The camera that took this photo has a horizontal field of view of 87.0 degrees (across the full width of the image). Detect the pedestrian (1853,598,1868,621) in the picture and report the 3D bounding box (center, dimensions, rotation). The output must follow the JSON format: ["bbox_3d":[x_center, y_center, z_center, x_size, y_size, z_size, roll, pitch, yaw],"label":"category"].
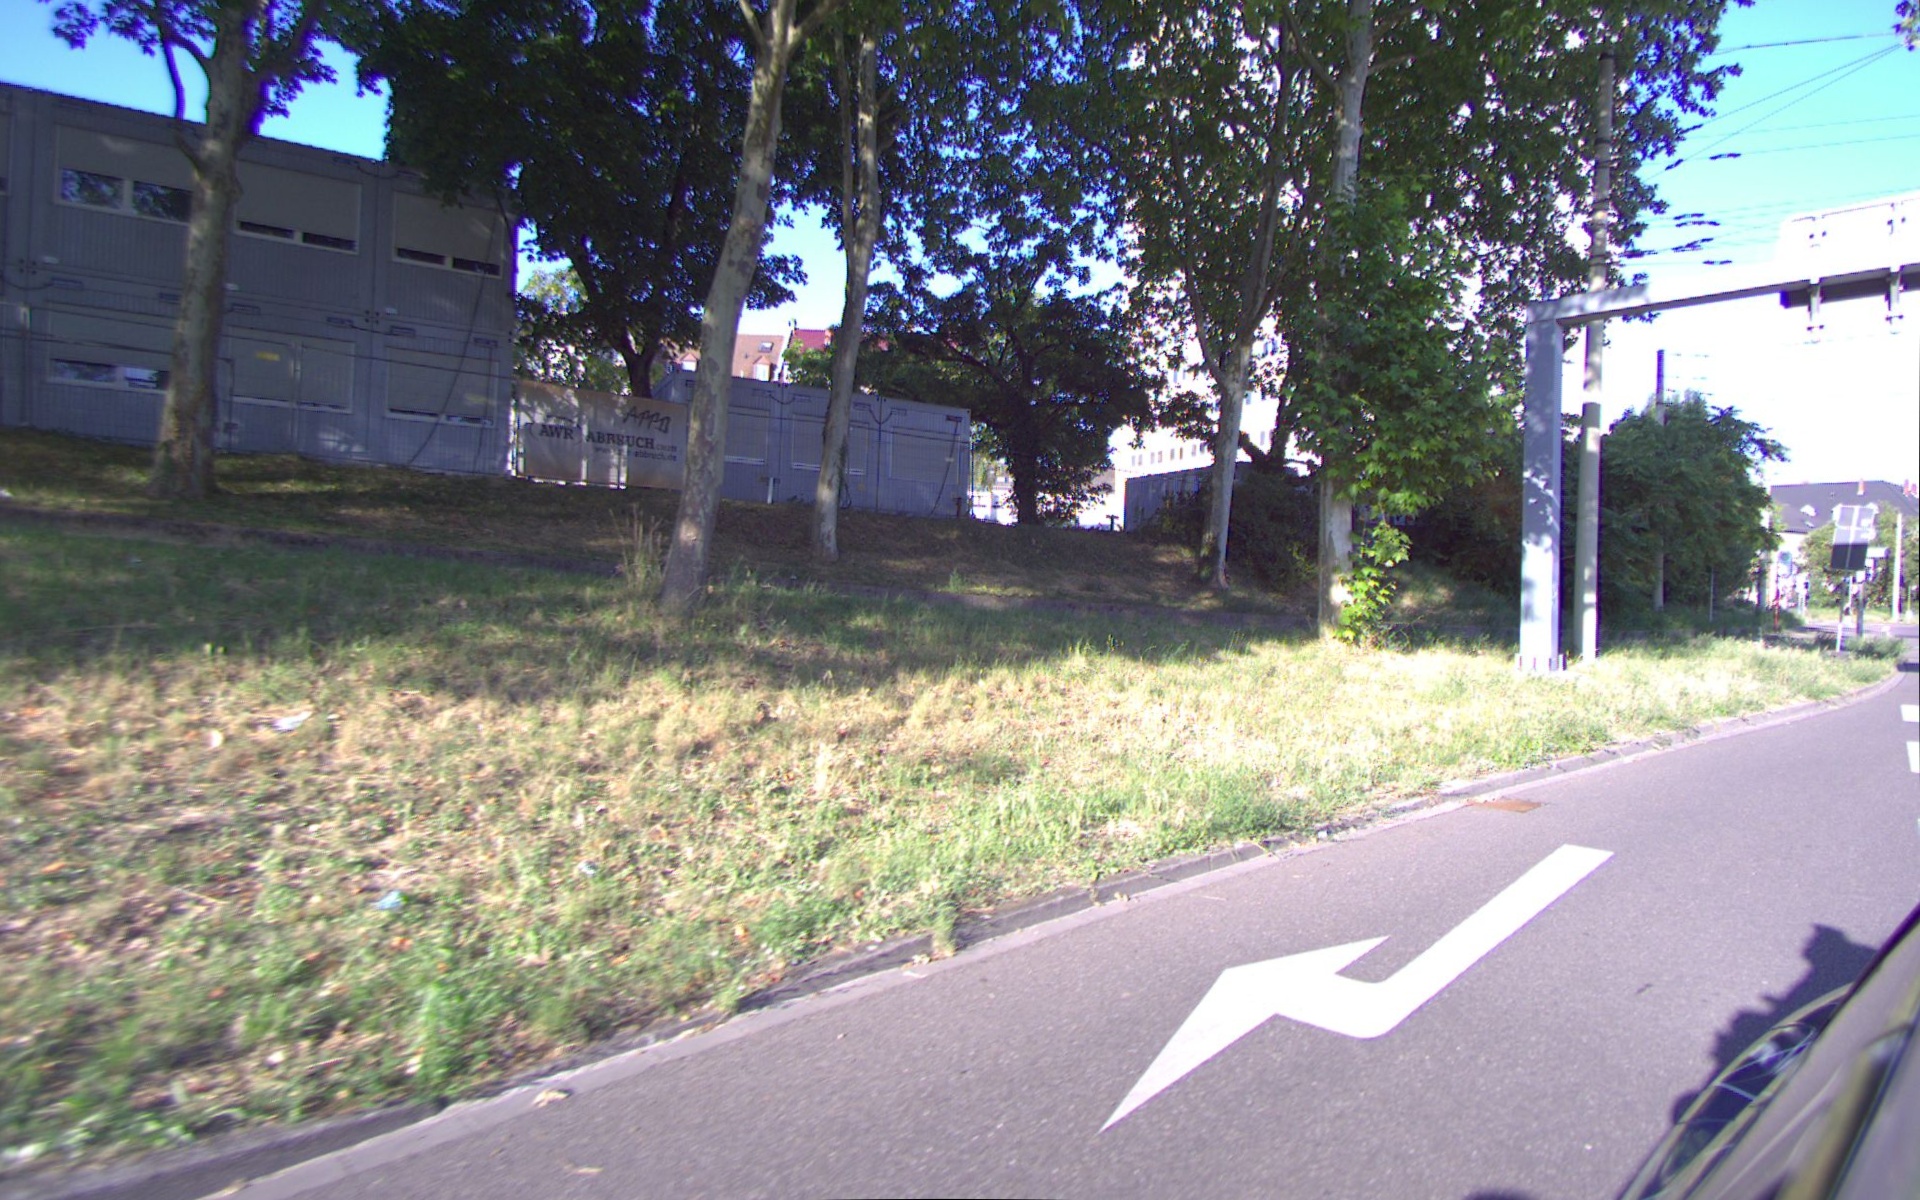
[{"bbox_3d":[66.495,0.703,74.752,0.535,1.615,0.595,2,1,-11],"label":"pedestrian"}]
